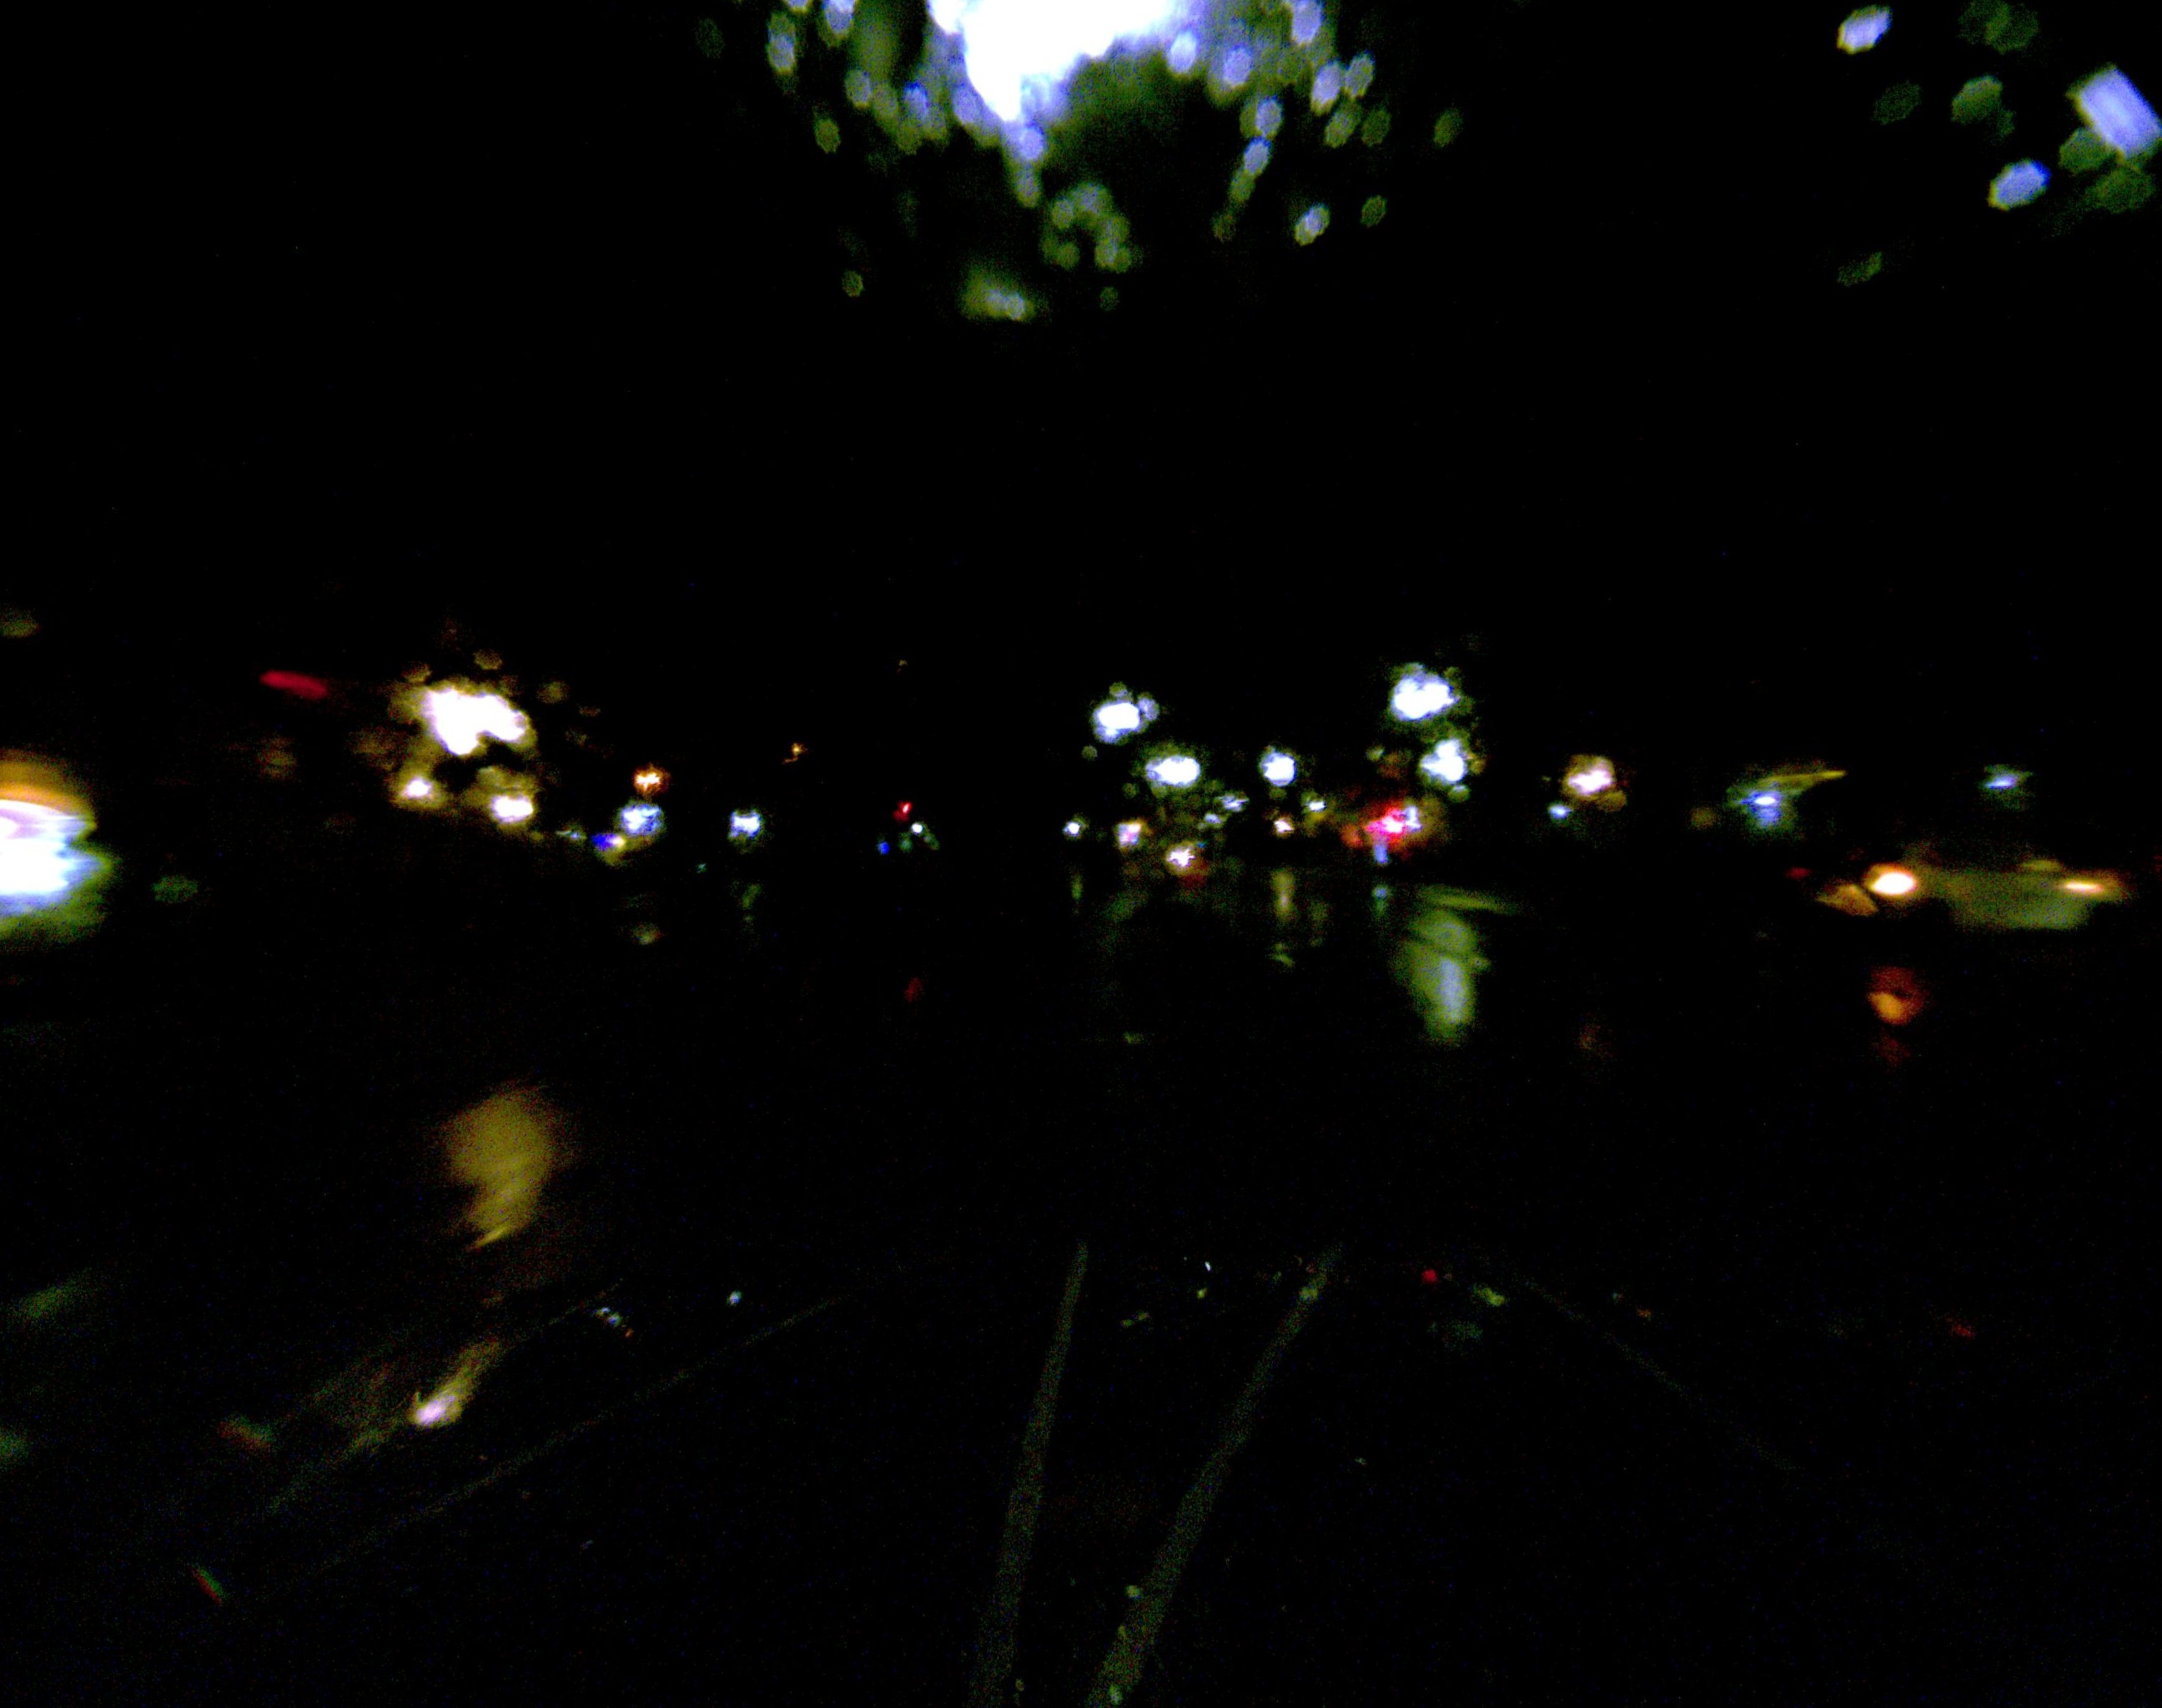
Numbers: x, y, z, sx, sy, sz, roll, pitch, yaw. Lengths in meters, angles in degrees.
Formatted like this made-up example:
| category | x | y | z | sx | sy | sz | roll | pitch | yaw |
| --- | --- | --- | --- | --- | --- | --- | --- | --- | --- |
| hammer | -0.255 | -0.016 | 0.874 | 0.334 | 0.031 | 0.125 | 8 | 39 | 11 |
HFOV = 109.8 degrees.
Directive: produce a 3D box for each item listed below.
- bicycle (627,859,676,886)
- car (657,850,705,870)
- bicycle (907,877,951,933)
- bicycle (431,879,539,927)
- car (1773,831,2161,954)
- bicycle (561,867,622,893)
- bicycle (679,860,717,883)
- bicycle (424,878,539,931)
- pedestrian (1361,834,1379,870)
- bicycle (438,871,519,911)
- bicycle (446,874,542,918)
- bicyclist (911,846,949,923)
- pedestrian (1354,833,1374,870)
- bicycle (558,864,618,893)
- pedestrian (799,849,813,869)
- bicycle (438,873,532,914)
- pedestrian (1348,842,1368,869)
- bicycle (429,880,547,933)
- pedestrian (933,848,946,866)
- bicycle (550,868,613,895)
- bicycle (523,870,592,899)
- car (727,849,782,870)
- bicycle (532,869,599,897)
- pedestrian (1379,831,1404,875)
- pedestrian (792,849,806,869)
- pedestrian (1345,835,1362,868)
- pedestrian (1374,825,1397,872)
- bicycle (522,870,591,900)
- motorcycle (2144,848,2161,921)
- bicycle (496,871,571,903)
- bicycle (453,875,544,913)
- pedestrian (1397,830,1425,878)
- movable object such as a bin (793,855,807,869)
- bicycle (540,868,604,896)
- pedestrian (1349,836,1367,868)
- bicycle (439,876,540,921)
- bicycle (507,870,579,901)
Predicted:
| category | x | y | z | sx | sy | sz | roll | pitch | yaw |
| --- | --- | --- | --- | --- | --- | --- | --- | --- | --- |
| bicycle | -20.619 | 0.867 | 36.463 | 1.875 | 1.210 | 0.729 | -1 | 2 | -8 |
| car | -36.998 | 0.565 | 70.217 | 4.275 | 1.694 | 1.884 | -1 | 3 | 31 |
| bicycle | -3.117 | 1.025 | 15.744 | 0.572 | 0.964 | 1.779 | -3 | 2 | -3 |
| bicycle | -14.206 | 1.146 | 18.186 | 1.978 | 1.001 | 0.640 | -2 | 2 | -36 |
| car | 12.687 | 0.484 | 11.001 | 3.595 | 1.507 | 1.924 | -2 | 2 | -1 |
| bicycle | -19.975 | 1.066 | 31.038 | 1.932 | 0.982 | 0.729 | -1 | 2 | -8 |
| bicycle | -20.323 | 0.922 | 40.338 | 1.625 | 1.076 | 0.564 | -2 | 4 | -9 |
| bicycle | -13.429 | 1.117 | 17.104 | 1.978 | 1.029 | 0.640 | -2 | 2 | -36 |
| pedestrian | 13.050 | -0.084 | 34.327 | 0.400 | 1.620 | 0.531 | -5 | 3 | -36 |
| bicycle | -17.810 | 1.071 | 22.525 | 1.828 | 1.081 | 0.719 | -2 | 2 | -36 |
| bicycle | -15.799 | 1.110 | 20.515 | 1.978 | 1.059 | 0.640 | -2 | 2 | -36 |
| bicyclist | -3.143 | 0.613 | 15.875 | 0.572 | 1.539 | 0.815 | -3 | 2 | -3 |
| pedestrian | 12.993 | -0.112 | 34.870 | 0.586 | 1.643 | 0.558 | -5 | 3 | -36 |
| bicycle | -20.440 | 1.009 | 31.513 | 1.932 | 1.109 | 0.729 | -1 | 2 | -8 |
| pedestrian | -23.686 | 0.401 | 65.379 | 0.841 | 1.629 | 0.635 | -2 | 2 | 32 |
| bicycle | -17.028 | 1.104 | 21.755 | 0.640 | 1.047 | 1.979 | 0 | 2 | 39 |
| pedestrian | 13.028 | 0.068 | 35.725 | 0.586 | 1.246 | 0.623 | -5 | 2 | -36 |
| bicycle | -12.898 | 1.119 | 16.611 | 1.978 | 1.001 | 0.640 | -2 | 2 | -36 |
| pedestrian | -11.553 | 0.241 | 62.088 | 0.769 | 1.485 | 0.633 | -5 | 2 | -24 |
| bicycle | -19.830 | 1.074 | 30.190 | 1.975 | 1.001 | 0.687 | -1 | 2 | -8 |
| bicycle | -19.368 | 1.105 | 28.133 | 1.975 | 1.001 | 0.642 | -1 | 2 | -8 |
| car | -27.911 | 0.450 | 64.869 | 4.484 | 1.585 | 1.892 | -1 | 3 | 29 |
| bicycle | -19.503 | 1.098 | 28.770 | 1.975 | 1.001 | 0.642 | -1 | 2 | -8 |
| pedestrian | 12.760 | -0.056 | 31.223 | 0.716 | 1.764 | 0.671 | -3 | 2 | 10 |
| pedestrian | -24.079 | 0.430 | 64.817 | 0.872 | 1.629 | 0.635 | -2 | 2 | 32 |
| pedestrian | 13.328 | -0.121 | 37.188 | 0.512 | 1.539 | 0.574 | -4 | 2 | -11 |
| pedestrian | 13.143 | -0.258 | 32.816 | 0.609 | 1.976 | 0.859 | -4 | 2 | 4 |
| bicycle | -18.990 | 1.105 | 27.535 | 1.975 | 1.001 | 0.642 | -1 | 2 | -8 |
| motorcycle | 19.291 | 0.476 | 12.837 | 2.251 | 1.206 | 0.791 | -3 | 3 | -15 |
| bicycle | -18.788 | 1.131 | 26.102 | 1.975 | 1.001 | 0.642 | -1 | 2 | -8 |
| bicycle | -16.623 | 1.132 | 21.712 | 1.975 | 1.001 | 0.642 | -1 | 2 | -8 |
| pedestrian | 12.591 | 0.007 | 29.015 | 0.670 | 1.764 | 0.717 | -4 | 2 | -3 |
| movable object such as a bin | -24.349 | 0.695 | 65.814 | 0.921 | 1.109 | 0.635 | -3 | 2 | 32 |
| bicycle | -19.728 | 1.092 | 29.482 | 1.975 | 1.001 | 0.642 | -1 | 2 | -8 |
| pedestrian | 13.364 | -0.108 | 36.665 | 0.480 | 1.520 | 0.586 | -4 | 2 | -10 |
| bicycle | -15.035 | 1.122 | 19.384 | 1.978 | 1.001 | 0.640 | -2 | 2 | -36 |
| bicycle | -18.943 | 1.104 | 26.788 | 1.975 | 1.028 | 0.642 | -1 | 2 | -8 |
